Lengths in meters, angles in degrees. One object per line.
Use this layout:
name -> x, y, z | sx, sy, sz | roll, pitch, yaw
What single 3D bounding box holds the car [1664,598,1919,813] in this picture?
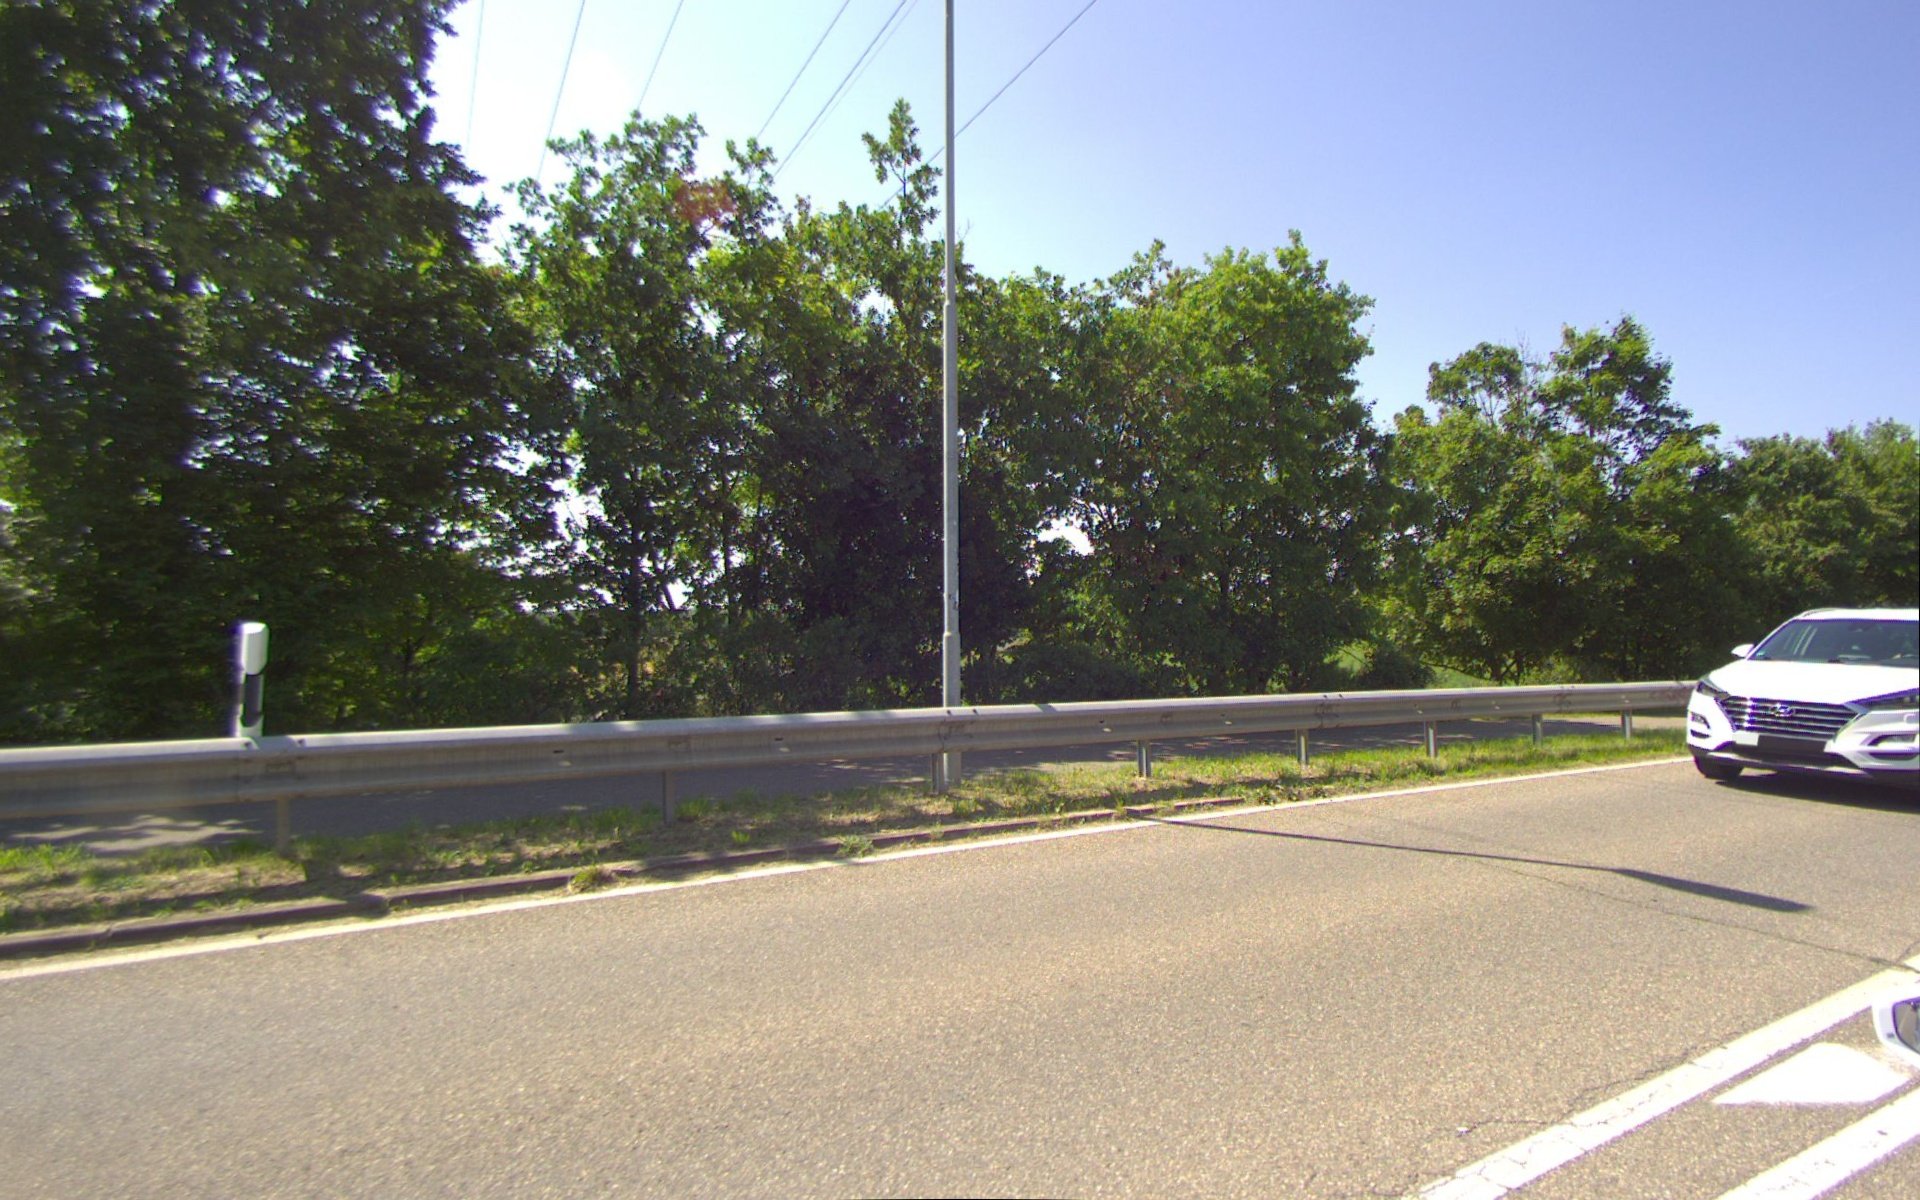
car -> 8.771, 0.855, 9.629 | 4.093, 1.661, 1.815 | 1, 0, -31
